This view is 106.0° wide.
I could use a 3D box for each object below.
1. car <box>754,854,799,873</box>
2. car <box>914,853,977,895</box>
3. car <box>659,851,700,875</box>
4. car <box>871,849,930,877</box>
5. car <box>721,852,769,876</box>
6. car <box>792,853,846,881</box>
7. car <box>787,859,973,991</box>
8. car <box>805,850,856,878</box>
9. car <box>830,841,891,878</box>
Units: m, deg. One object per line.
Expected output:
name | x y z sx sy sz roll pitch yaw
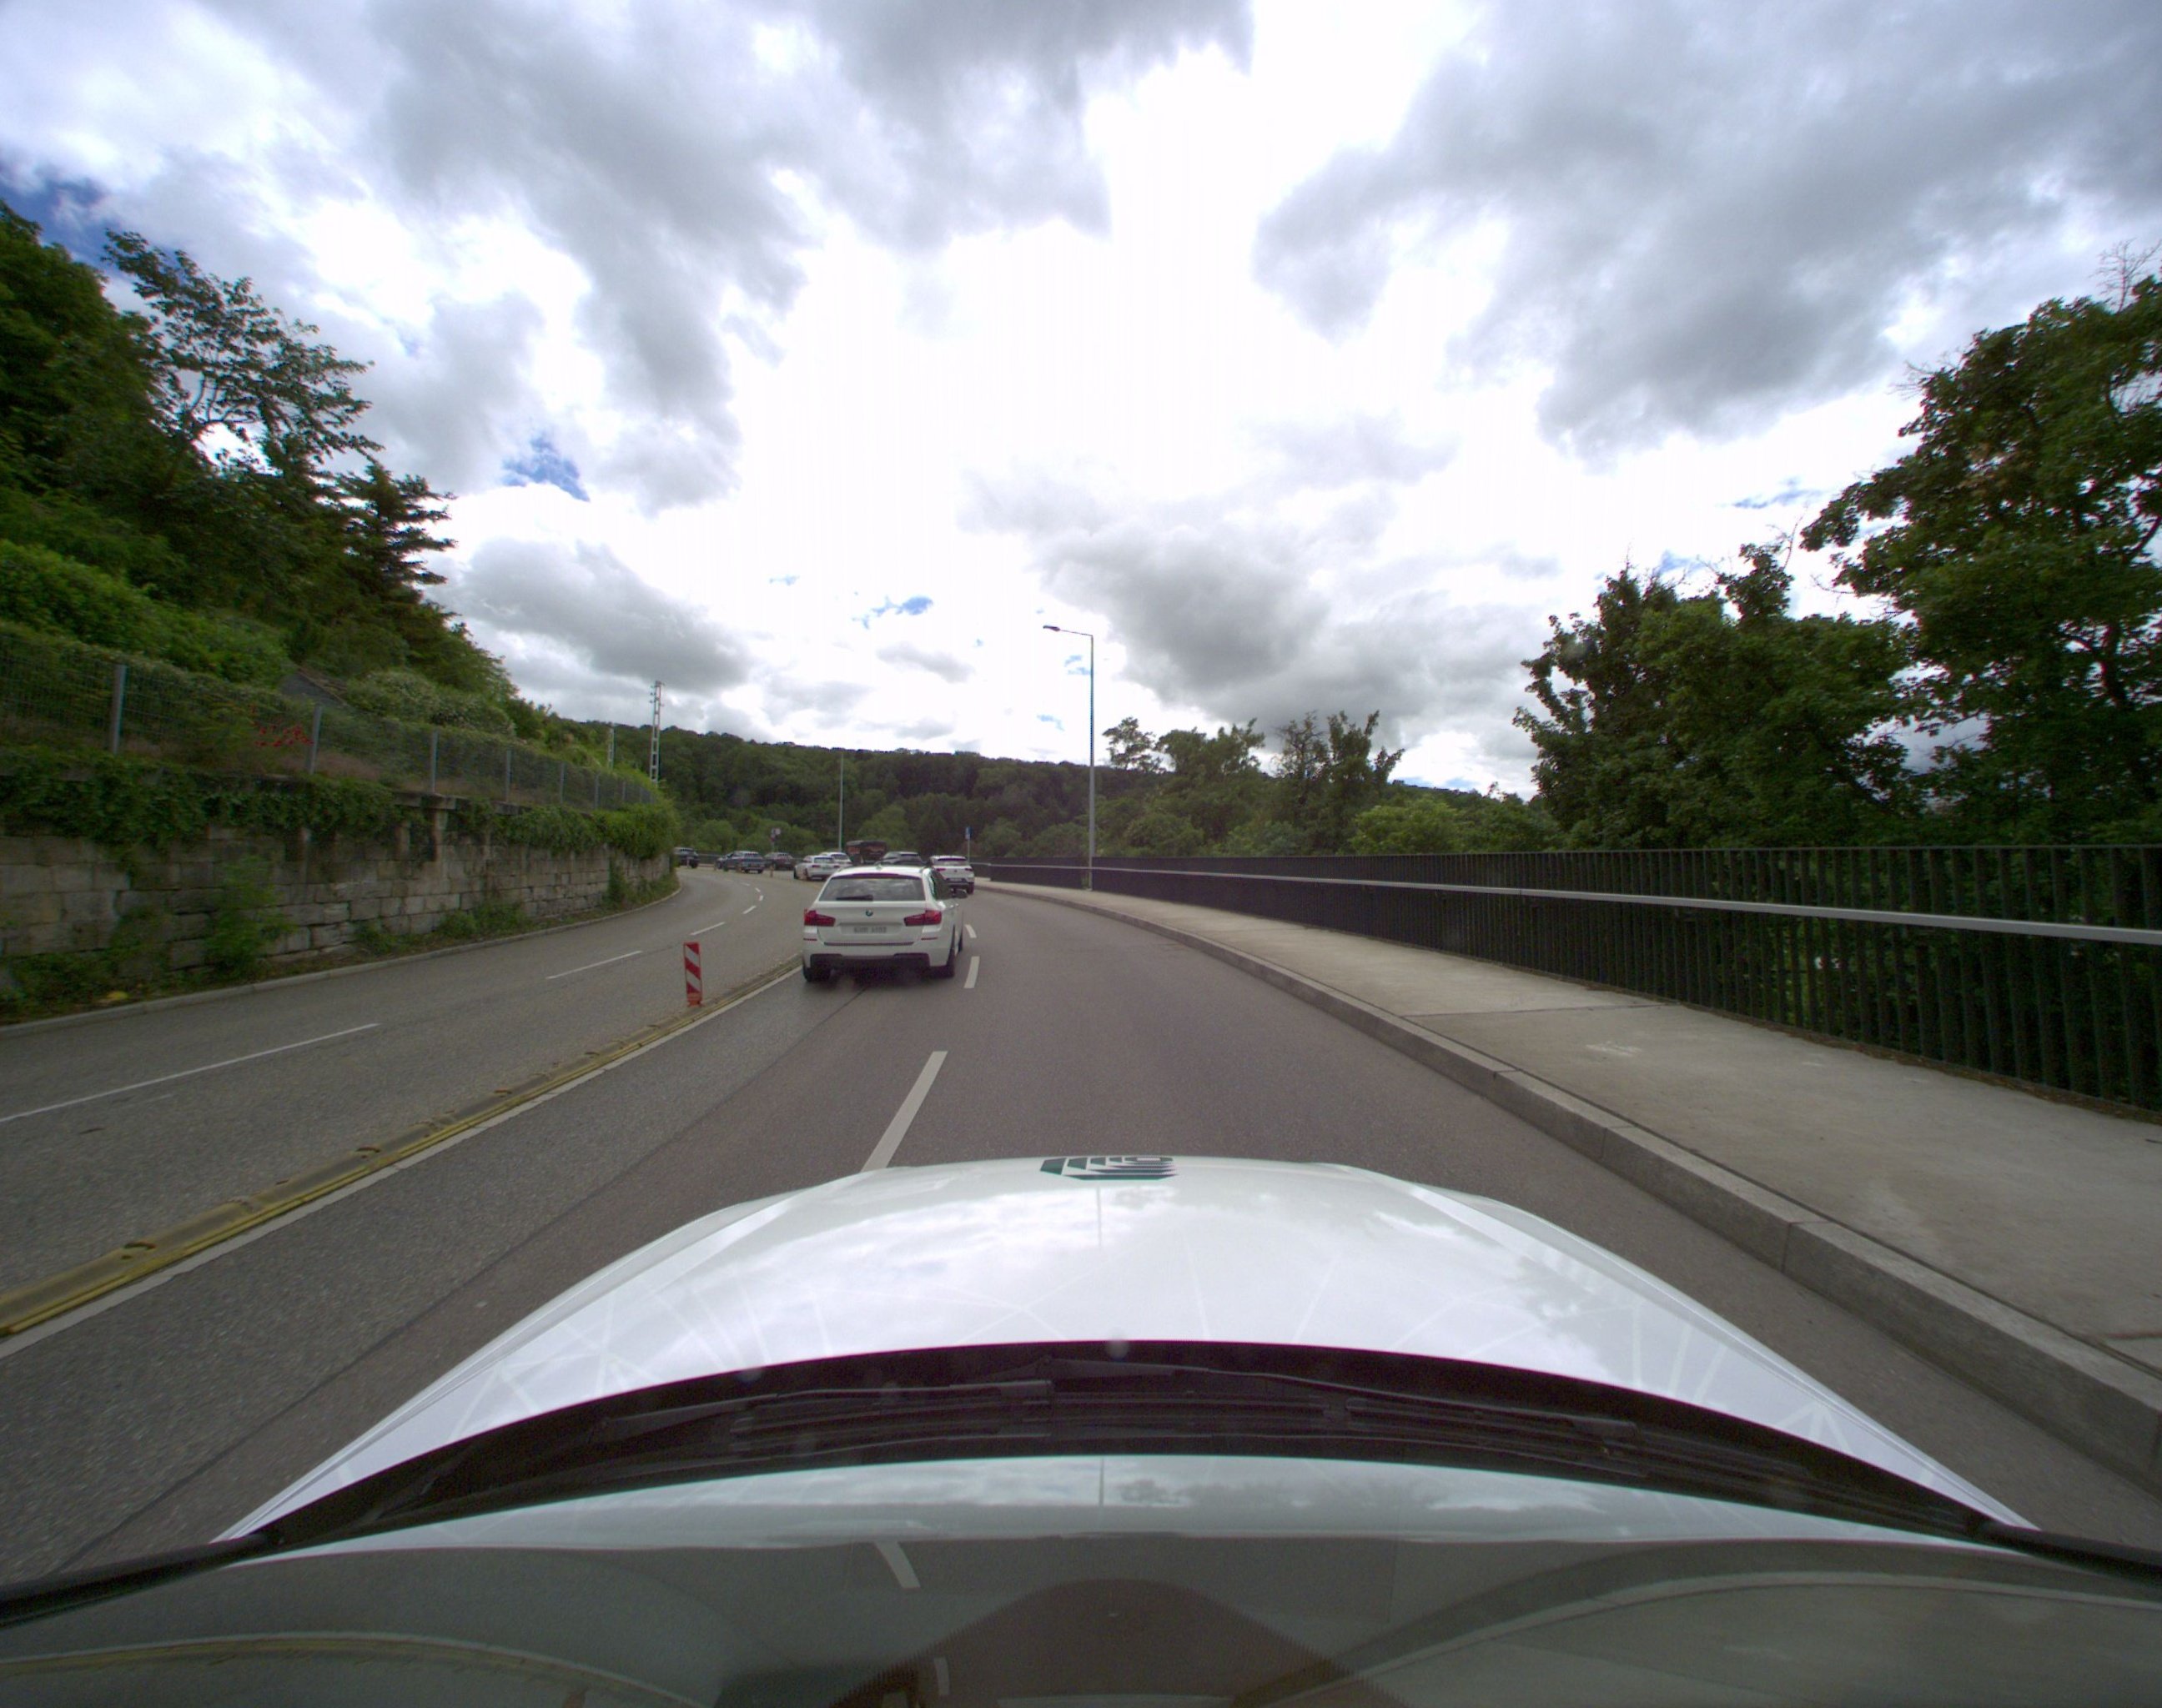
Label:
car | -26.099 0.790 69.755 4.038 1.543 1.892 1 -2 42
car | -5.760 0.825 34.218 1.834 1.606 3.972 -1 0 -21
car | -33.184 0.778 67.231 1.886 1.762 3.950 3 -5 -44
car | -11.859 0.586 53.187 2.008 1.718 4.995 0 -1 -35
car | -24.422 0.741 59.176 2.011 1.648 3.952 -1 0 -42
car | -15.257 0.727 47.201 2.006 1.503 4.622 -1 0 -30
car | -2.606 0.830 11.640 1.824 1.459 4.478 -1 0 -4
car | -16.615 0.673 53.888 2.008 1.718 4.069 -1 0 -35
car | -15.979 0.322 58.720 2.184 2.521 5.705 -1 1 -38
